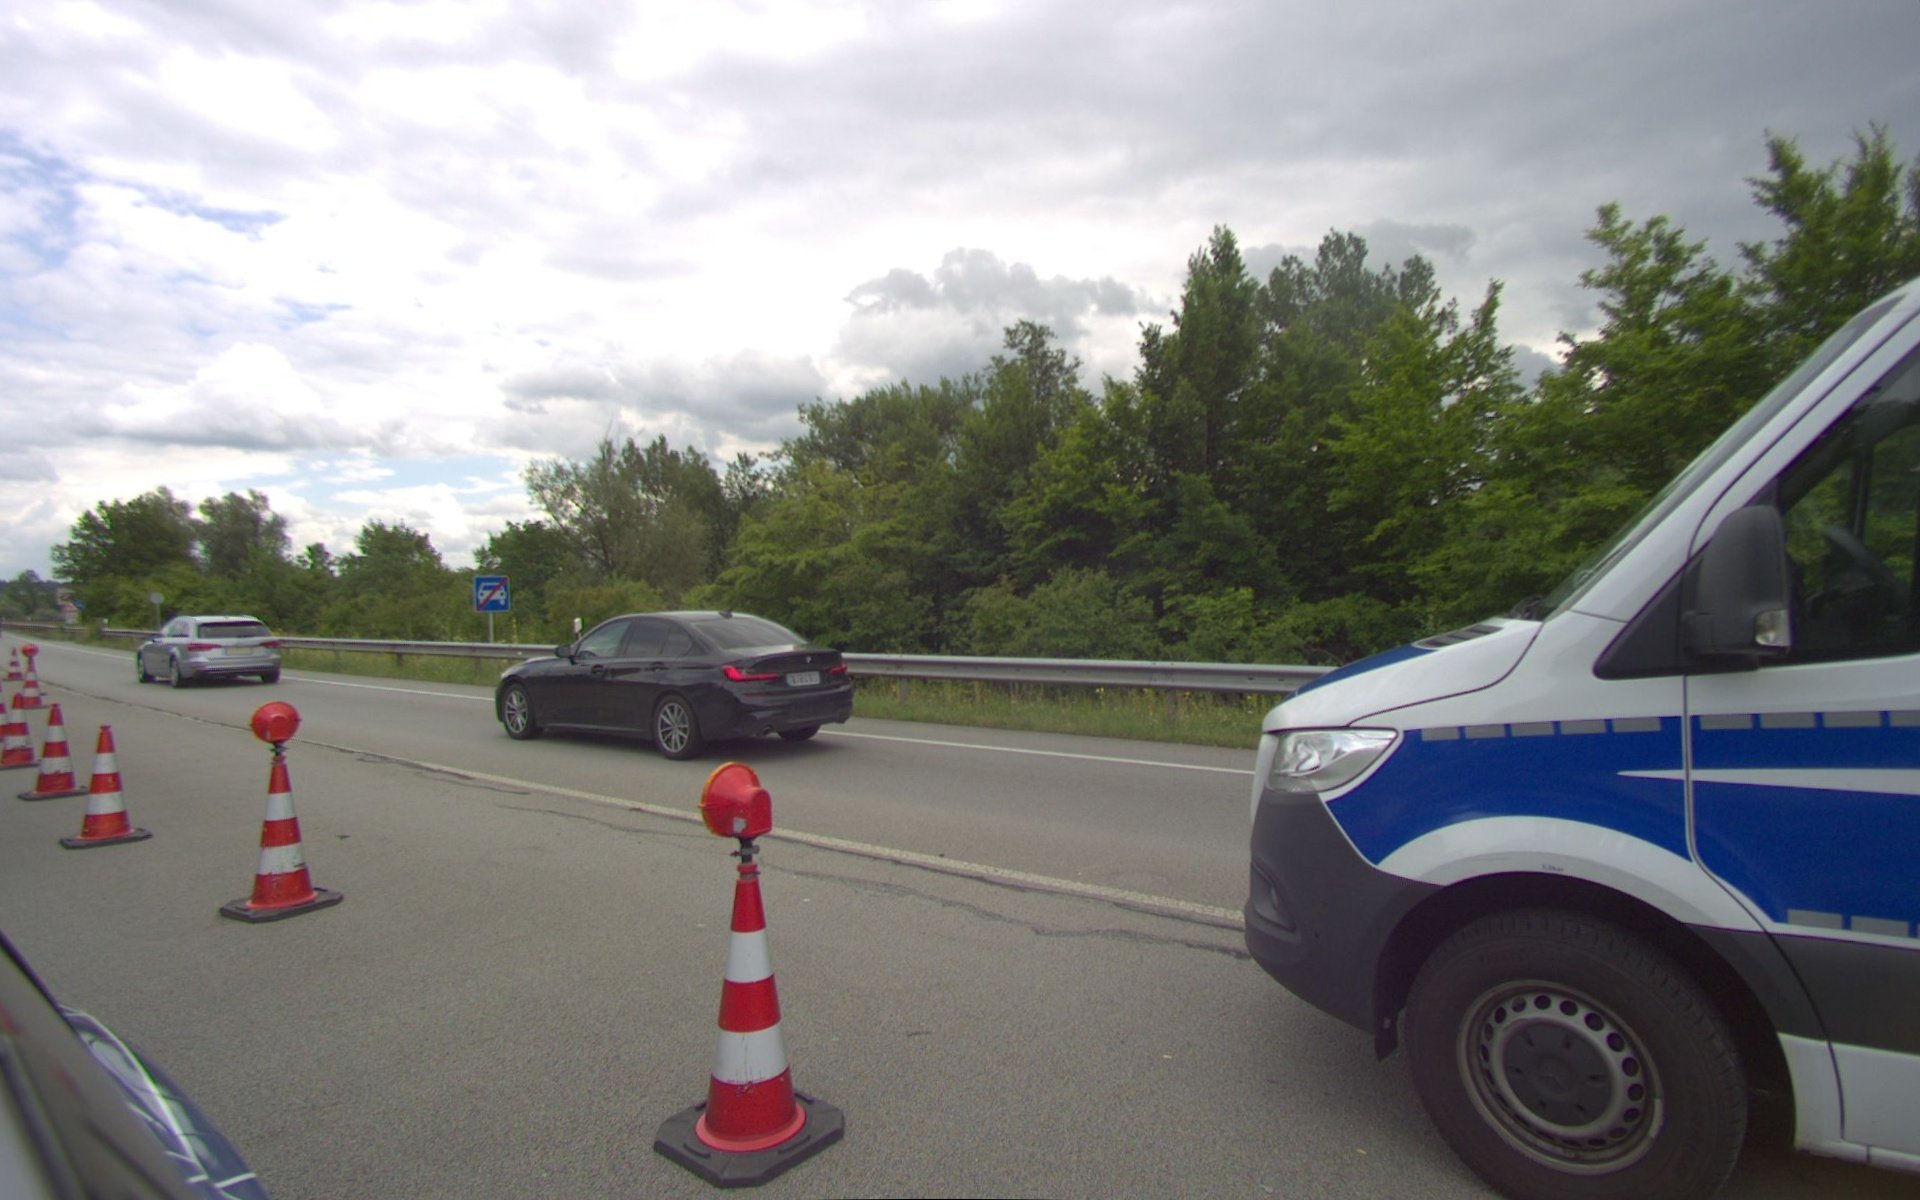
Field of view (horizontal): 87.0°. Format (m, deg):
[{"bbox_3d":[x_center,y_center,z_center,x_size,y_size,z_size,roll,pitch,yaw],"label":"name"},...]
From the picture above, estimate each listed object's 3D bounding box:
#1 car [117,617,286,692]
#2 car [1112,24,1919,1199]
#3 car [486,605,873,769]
[{"bbox_3d":[-16.079,1.094,21.384,4.366,1.412,1.664,-1,-1,36],"label":"car"},{"bbox_3d":[3.143,0.137,2.145,5.272,2.482,2.010,-1,-1,38],"label":"car"},{"bbox_3d":[-3.143,0.813,10.940,4.327,1.447,1.694,-1,-1,35],"label":"car"}]
